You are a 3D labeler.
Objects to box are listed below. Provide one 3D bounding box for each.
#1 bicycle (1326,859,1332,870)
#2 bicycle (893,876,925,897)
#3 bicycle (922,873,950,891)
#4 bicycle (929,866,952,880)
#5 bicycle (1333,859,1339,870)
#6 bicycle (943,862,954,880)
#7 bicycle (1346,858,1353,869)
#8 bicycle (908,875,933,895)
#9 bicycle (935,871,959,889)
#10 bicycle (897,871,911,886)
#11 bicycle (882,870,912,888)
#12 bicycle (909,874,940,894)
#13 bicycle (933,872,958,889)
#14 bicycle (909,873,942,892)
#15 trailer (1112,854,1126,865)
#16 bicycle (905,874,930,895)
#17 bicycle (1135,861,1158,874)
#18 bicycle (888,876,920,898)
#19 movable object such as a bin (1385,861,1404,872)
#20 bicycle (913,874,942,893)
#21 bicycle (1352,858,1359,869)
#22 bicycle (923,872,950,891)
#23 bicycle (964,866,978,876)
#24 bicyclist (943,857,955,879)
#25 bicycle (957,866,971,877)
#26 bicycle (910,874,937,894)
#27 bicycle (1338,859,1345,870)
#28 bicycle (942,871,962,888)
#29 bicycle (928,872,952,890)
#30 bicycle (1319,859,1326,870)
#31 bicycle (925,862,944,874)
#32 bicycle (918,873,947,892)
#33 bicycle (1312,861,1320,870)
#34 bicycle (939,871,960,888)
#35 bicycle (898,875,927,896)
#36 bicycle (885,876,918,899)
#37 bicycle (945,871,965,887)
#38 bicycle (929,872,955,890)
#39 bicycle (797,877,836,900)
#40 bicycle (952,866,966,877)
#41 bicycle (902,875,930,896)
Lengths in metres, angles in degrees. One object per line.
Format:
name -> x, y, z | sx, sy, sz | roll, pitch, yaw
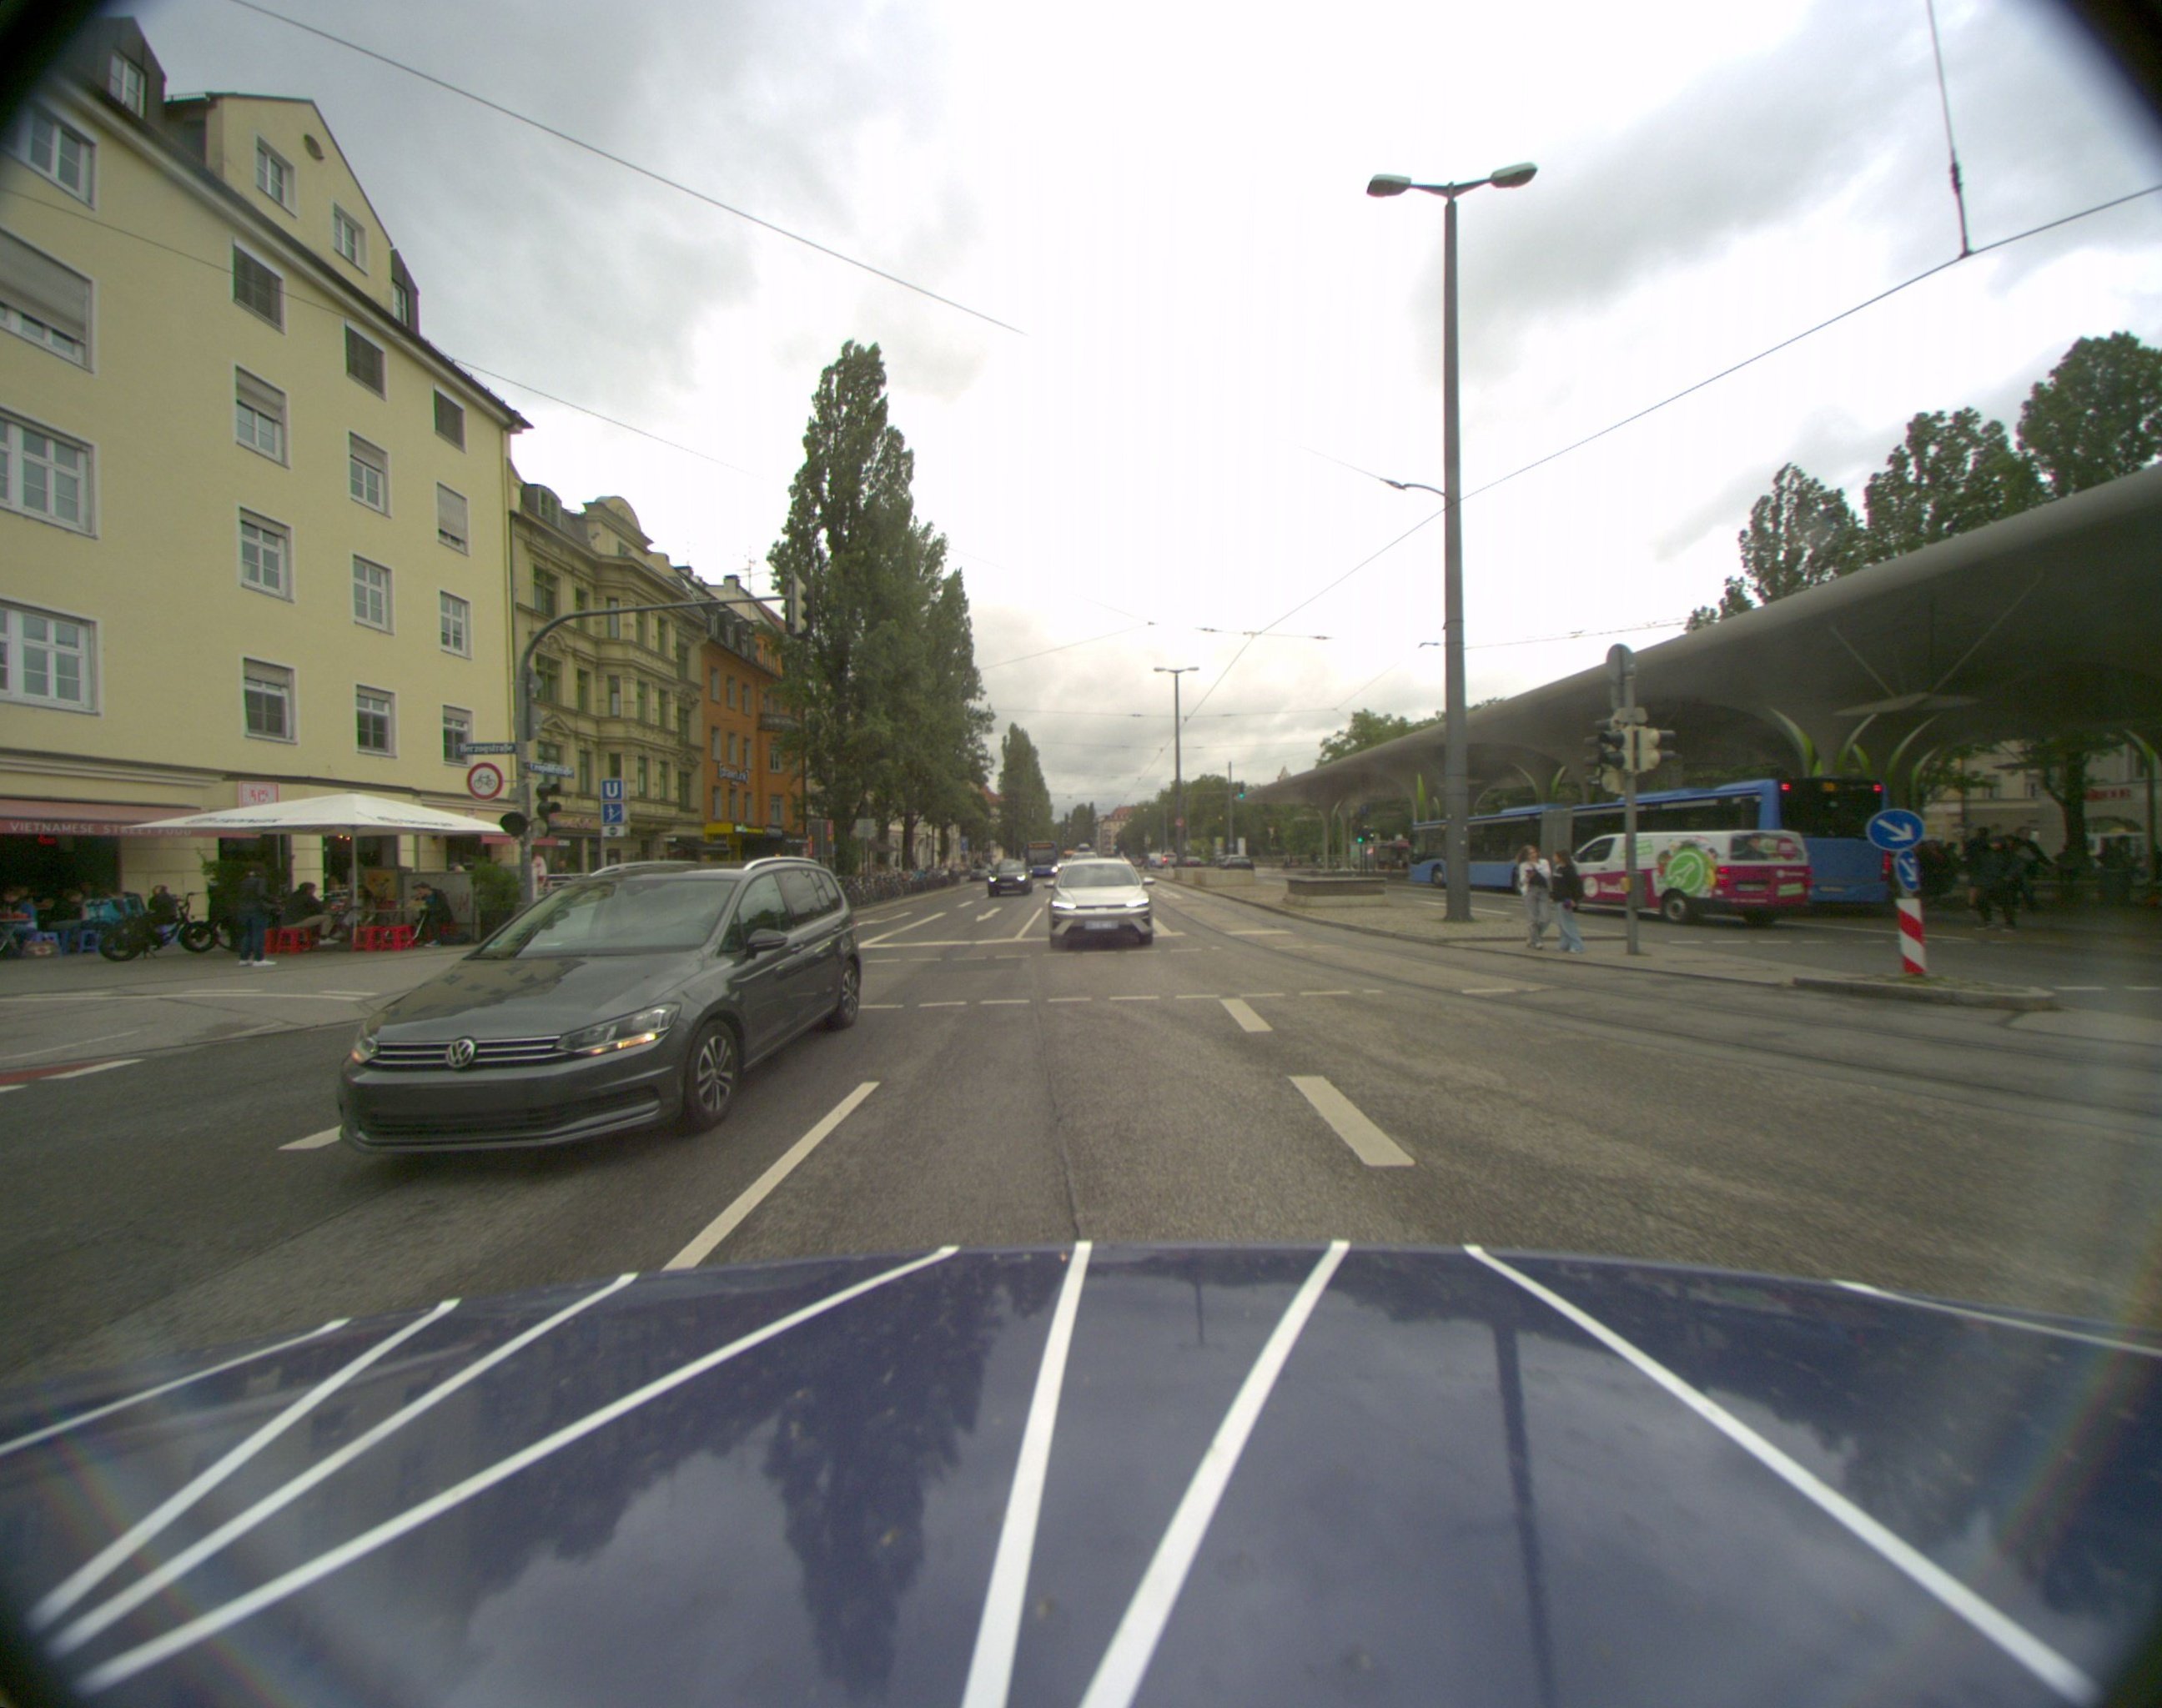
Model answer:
bicycle -> 24.897, 1.074, 76.333 | 0.479, 1.090, 1.851 | -1, 0, 14
bicycle -> -8.112, 1.532, 35.741 | 1.837, 0.989, 0.326 | -3, -1, 37
bicycle -> -8.014, 1.551, 42.042 | 1.837, 0.989, 0.376 | -3, -1, 38
bicycle -> -12.049, 1.599, 65.120 | 1.801, 1.103, 0.447 | -3, 0, 2
bicycle -> 25.591, 1.037, 76.221 | 0.479, 1.090, 1.851 | -1, 0, 14
bicycle -> -9.842, 1.236, 56.404 | 0.424, 1.280, 1.779 | -1, 0, 2
bicycle -> 26.830, 0.971, 75.924 | 0.479, 1.090, 1.851 | -1, 0, 14
bicycle -> -7.947, 1.530, 37.545 | 0.326, 0.989, 1.837 | -1, -2, -43
bicycle -> -8.024, 1.564, 45.471 | 0.376, 0.989, 1.837 | -1, -2, -44
bicycle -> -11.417, 1.593, 49.025 | 0.458, 0.887, 1.893 | -1, 0, -1
bicycle -> -12.647, 1.703, 52.217 | 1.892, 1.167, 0.582 | -1, 0, 2
bicycle -> -8.112, 1.545, 39.225 | 1.837, 0.989, 0.326 | -3, -1, 33
bicycle -> -7.993, 1.560, 44.721 | 1.837, 0.989, 0.376 | -3, -2, 42
bicycle -> -8.290, 1.513, 40.582 | 1.838, 0.989, 0.376 | -2, -1, 25
trailer -> 9.743, 1.511, 195.416 | 2.616, 2.666, 15.640 | 1, 0, 0
bicycle -> -8.231, 1.547, 38.224 | 0.326, 0.989, 1.837 | -1, -2, -42
bicycle -> 6.221, 1.243, 72.116 | 2.234, 1.143, 0.505 | -2, 1, -23
bicycle -> -8.180, 1.534, 35.139 | 1.837, 0.989, 0.326 | -3, -1, 37
movable object such as a bin -> 29.373, 1.161, 71.150 | 1.336, 1.078, 0.957 | -1, 0, 1
bicycle -> -8.050, 1.544, 39.838 | 1.837, 0.989, 0.326 | -3, -1, 38
bicycle -> 27.383, 0.941, 75.734 | 0.479, 1.090, 1.851 | -1, 0, 14
bicycle -> -8.118, 1.559, 42.680 | 1.837, 0.989, 0.376 | -3, -1, 38
bicycle -> -11.524, 1.786, 79.963 | 0.445, 1.017, 1.842 | -1, 0, 27
bicyclist -> -9.772, 1.026, 56.339 | 0.681, 1.594, 0.939 | -1, 0, 1
bicycle -> -12.263, 1.832, 79.930 | 0.445, 1.017, 1.842 | -1, 0, 27
bicycle -> -8.020, 1.538, 38.573 | 1.837, 0.989, 0.326 | -3, -2, 43
bicycle -> 26.109, 1.010, 76.128 | 0.479, 1.090, 1.851 | -1, 0, 14
bicycle -> -7.963, 1.566, 46.929 | 0.376, 0.989, 1.837 | -1, -2, -39
bicycle -> -8.071, 1.559, 43.417 | 1.837, 0.989, 0.376 | -3, -2, 45
bicycle -> 24.265, 1.022, 76.451 | 0.479, 1.090, 1.851 | -1, 0, 11
bicycle -> -15.433, 1.464, 80.115 | 1.890, 1.147, 0.464 | -2, 1, -42
bicycle -> -8.078, 1.552, 41.295 | 1.837, 0.989, 0.376 | -3, -1, 38
bicycle -> 23.724, 1.122, 76.565 | 0.479, 0.889, 1.850 | -1, 0, 8
bicycle -> -7.993, 1.565, 46.165 | 0.376, 0.989, 1.837 | -1, -2, -39
bicycle -> -8.086, 1.534, 36.452 | 1.837, 0.989, 0.326 | -3, -2, 43
bicycle -> -8.143, 1.529, 34.369 | 1.837, 0.989, 0.326 | -3, -1, 37
bicycle -> -7.910, 1.566, 47.569 | 0.376, 0.989, 1.837 | -1, -2, -39
bicycle -> -8.060, 1.561, 44.040 | 1.837, 0.989, 0.376 | -3, -1, 39
bicycle -> -12.945, 1.686, 37.186 | 1.727, 1.039, 0.387 | -2, -1, -6
bicycle -> -12.872, 1.853, 80.012 | 0.391, 1.017, 1.842 | -1, 1, 27
bicycle -> -8.061, 1.535, 37.104 | 1.837, 0.989, 0.326 | -3, -2, 43
